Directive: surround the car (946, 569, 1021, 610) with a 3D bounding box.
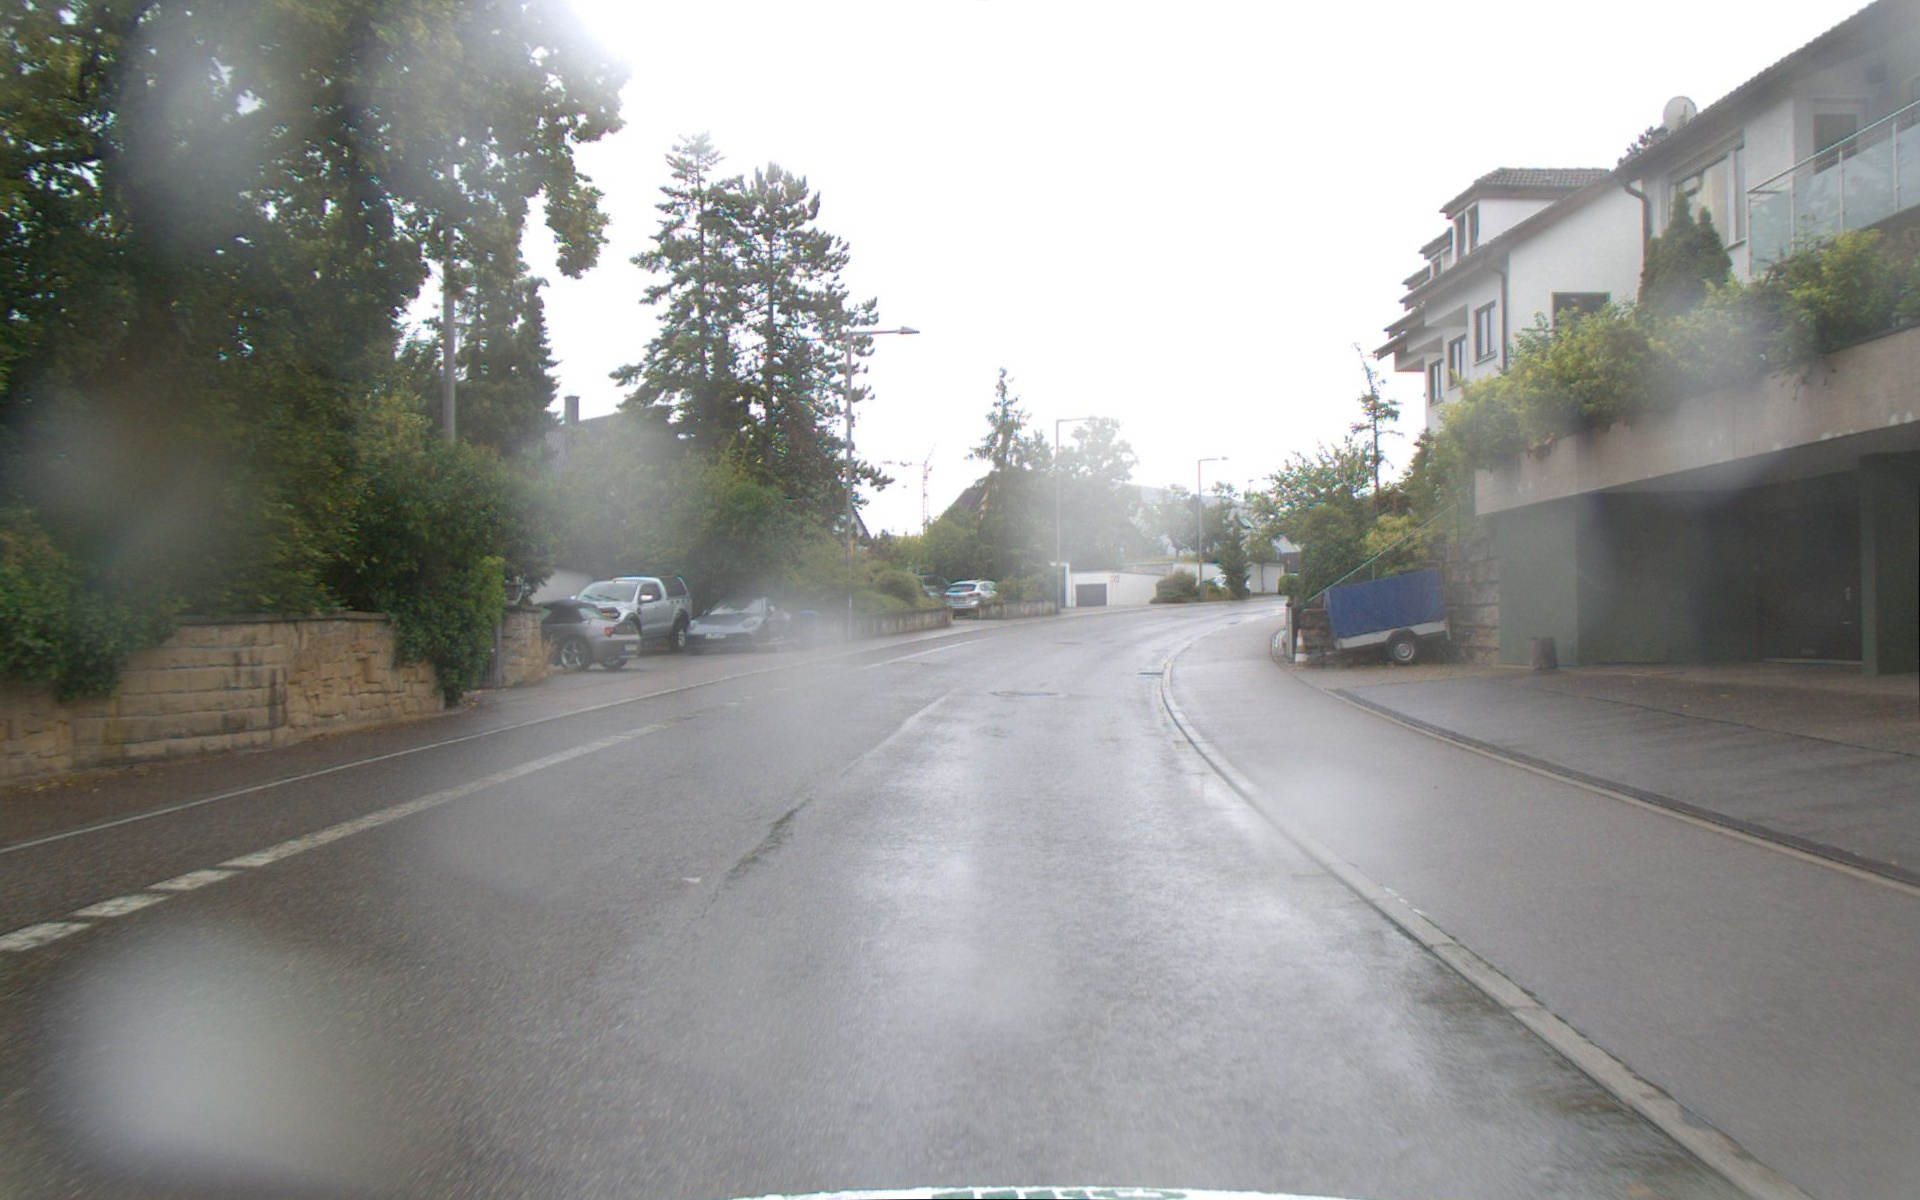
[{"bbox_3d":[1.005,-0.464,68.205,1.699,1.578,4.000,-1,1,22],"label":"car"}]

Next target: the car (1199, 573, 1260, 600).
[{"bbox_3d":[17.036,-0.844,104.520,1.681,1.580,4.361,0,2,43],"label":"car"}]

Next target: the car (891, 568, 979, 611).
[{"bbox_3d":[-1.149,-0.459,74.620,1.981,1.870,3.943,-2,1,-39],"label":"car"}]

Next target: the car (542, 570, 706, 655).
[{"bbox_3d":[-7.986,0.245,39.944,1.951,1.876,5.483,-1,1,10],"label":"car"}]

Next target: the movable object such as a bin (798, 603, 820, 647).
[{"bbox_3d":[-3.584,0.595,39.266,0.362,1.005,0.559,-1,1,7],"label":"movable object such as a bin"}]

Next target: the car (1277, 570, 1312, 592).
[{"bbox_3d":[23.665,-1.327,116.926,1.796,1.430,4.261,-1,1,20],"label":"car"}]

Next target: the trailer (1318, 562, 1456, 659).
[{"bbox_3d":[8.164,0.191,31.832,2.304,1.778,2.002,-1,0,7],"label":"trailer"}]

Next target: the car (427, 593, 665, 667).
[{"bbox_3d":[-7.755,0.549,31.085,3.902,1.293,1.875,-1,1,14],"label":"car"}]

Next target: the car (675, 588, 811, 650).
[{"bbox_3d":[-5.151,0.426,39.923,1.951,1.330,4.438,-2,1,10],"label":"car"}]
